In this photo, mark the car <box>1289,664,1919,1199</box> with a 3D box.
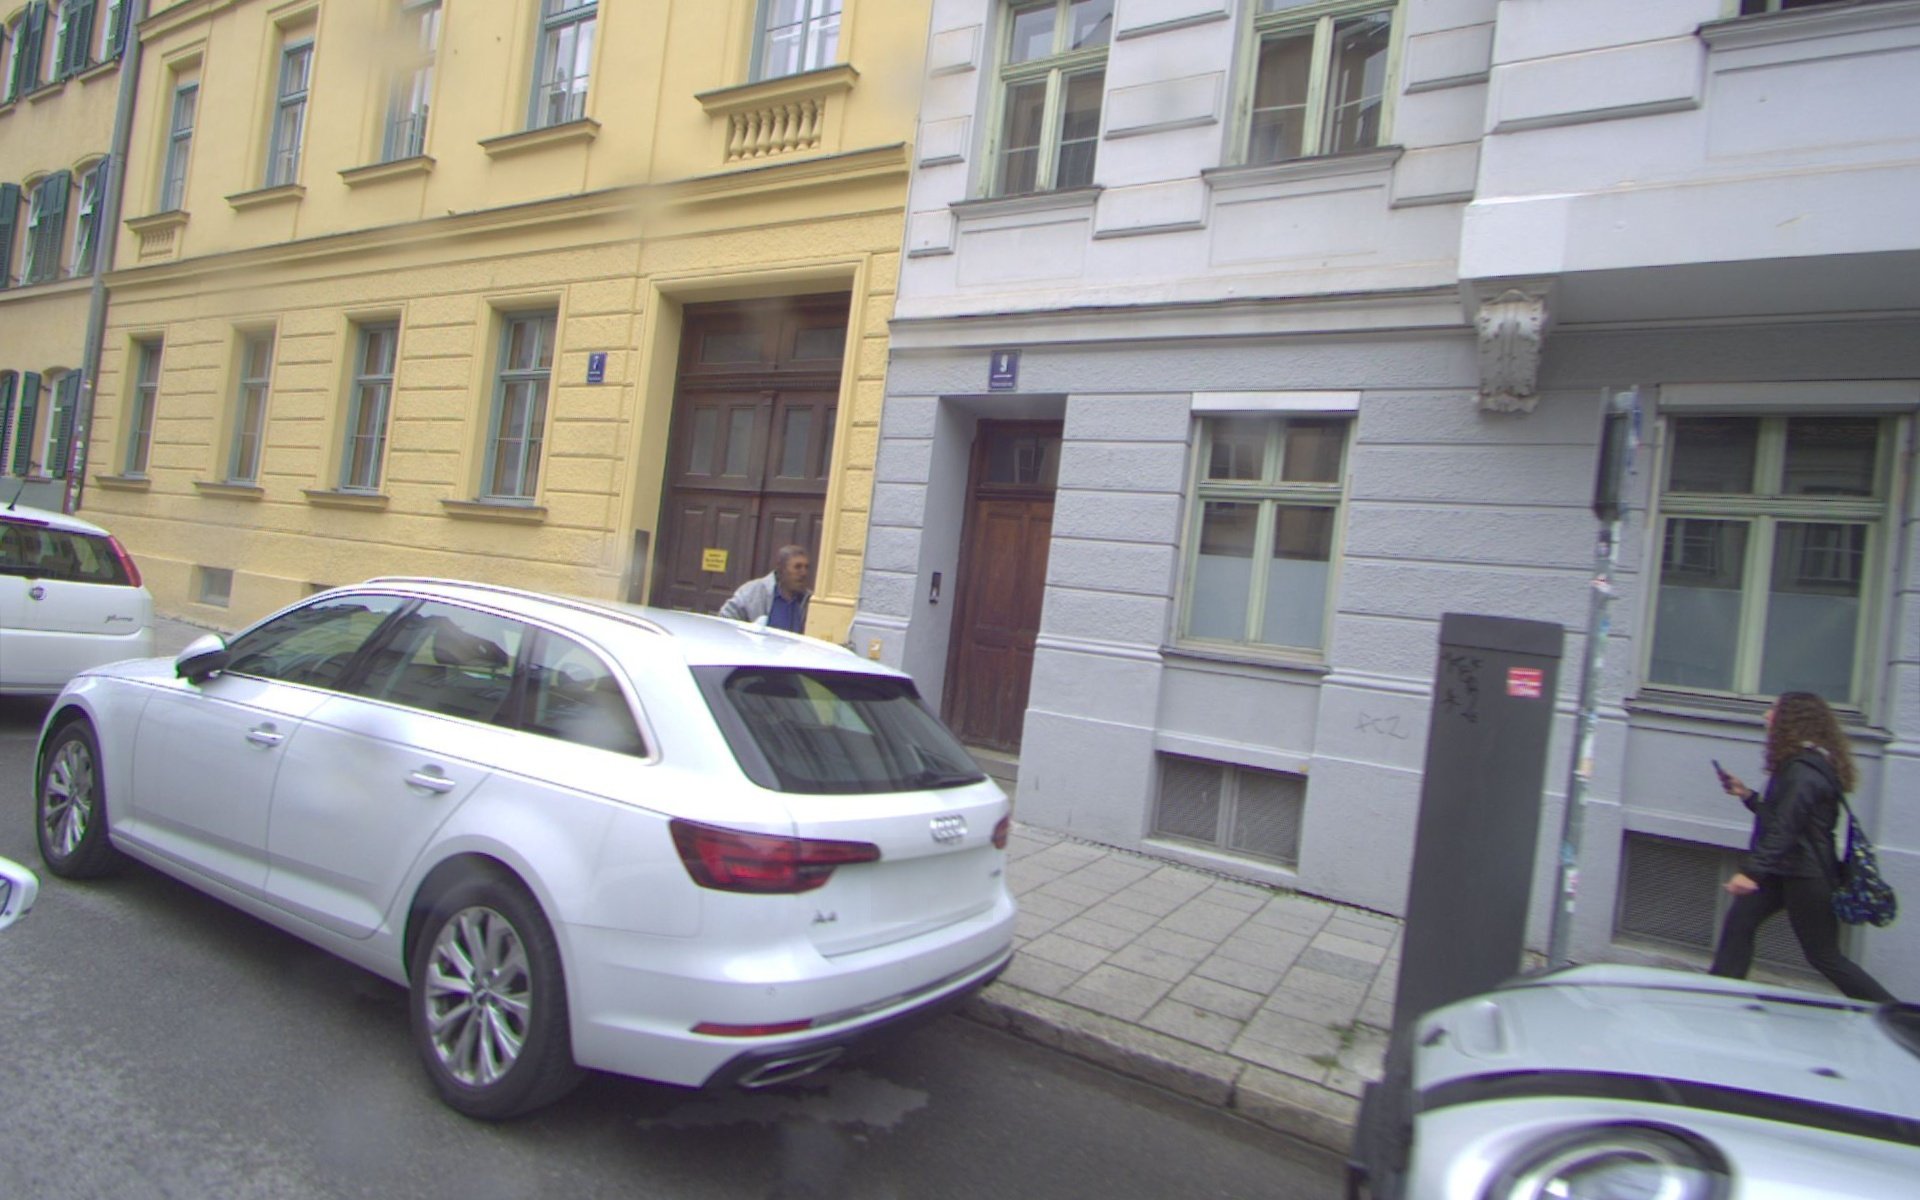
[{"bbox_3d":[2.602,1.138,1.464,3.867,1.527,1.722,7,-1,26],"label":"car"}]

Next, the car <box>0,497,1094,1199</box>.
[{"bbox_3d":[-1.900,0.609,4.075,4.393,1.527,1.721,7,-1,30],"label":"car"}]

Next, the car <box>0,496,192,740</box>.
[{"bbox_3d":[-7.537,-0.054,7.329,3.697,1.527,1.627,7,-1,29],"label":"car"}]

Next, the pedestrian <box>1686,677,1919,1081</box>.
[{"bbox_3d":[3.844,1.193,4.591,0.614,1.595,0.645,7,2,29],"label":"pedestrian"}]

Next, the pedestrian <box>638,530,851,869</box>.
[{"bbox_3d":[-1.320,0.585,6.226,0.791,1.884,0.703,7,-1,28],"label":"pedestrian"}]
